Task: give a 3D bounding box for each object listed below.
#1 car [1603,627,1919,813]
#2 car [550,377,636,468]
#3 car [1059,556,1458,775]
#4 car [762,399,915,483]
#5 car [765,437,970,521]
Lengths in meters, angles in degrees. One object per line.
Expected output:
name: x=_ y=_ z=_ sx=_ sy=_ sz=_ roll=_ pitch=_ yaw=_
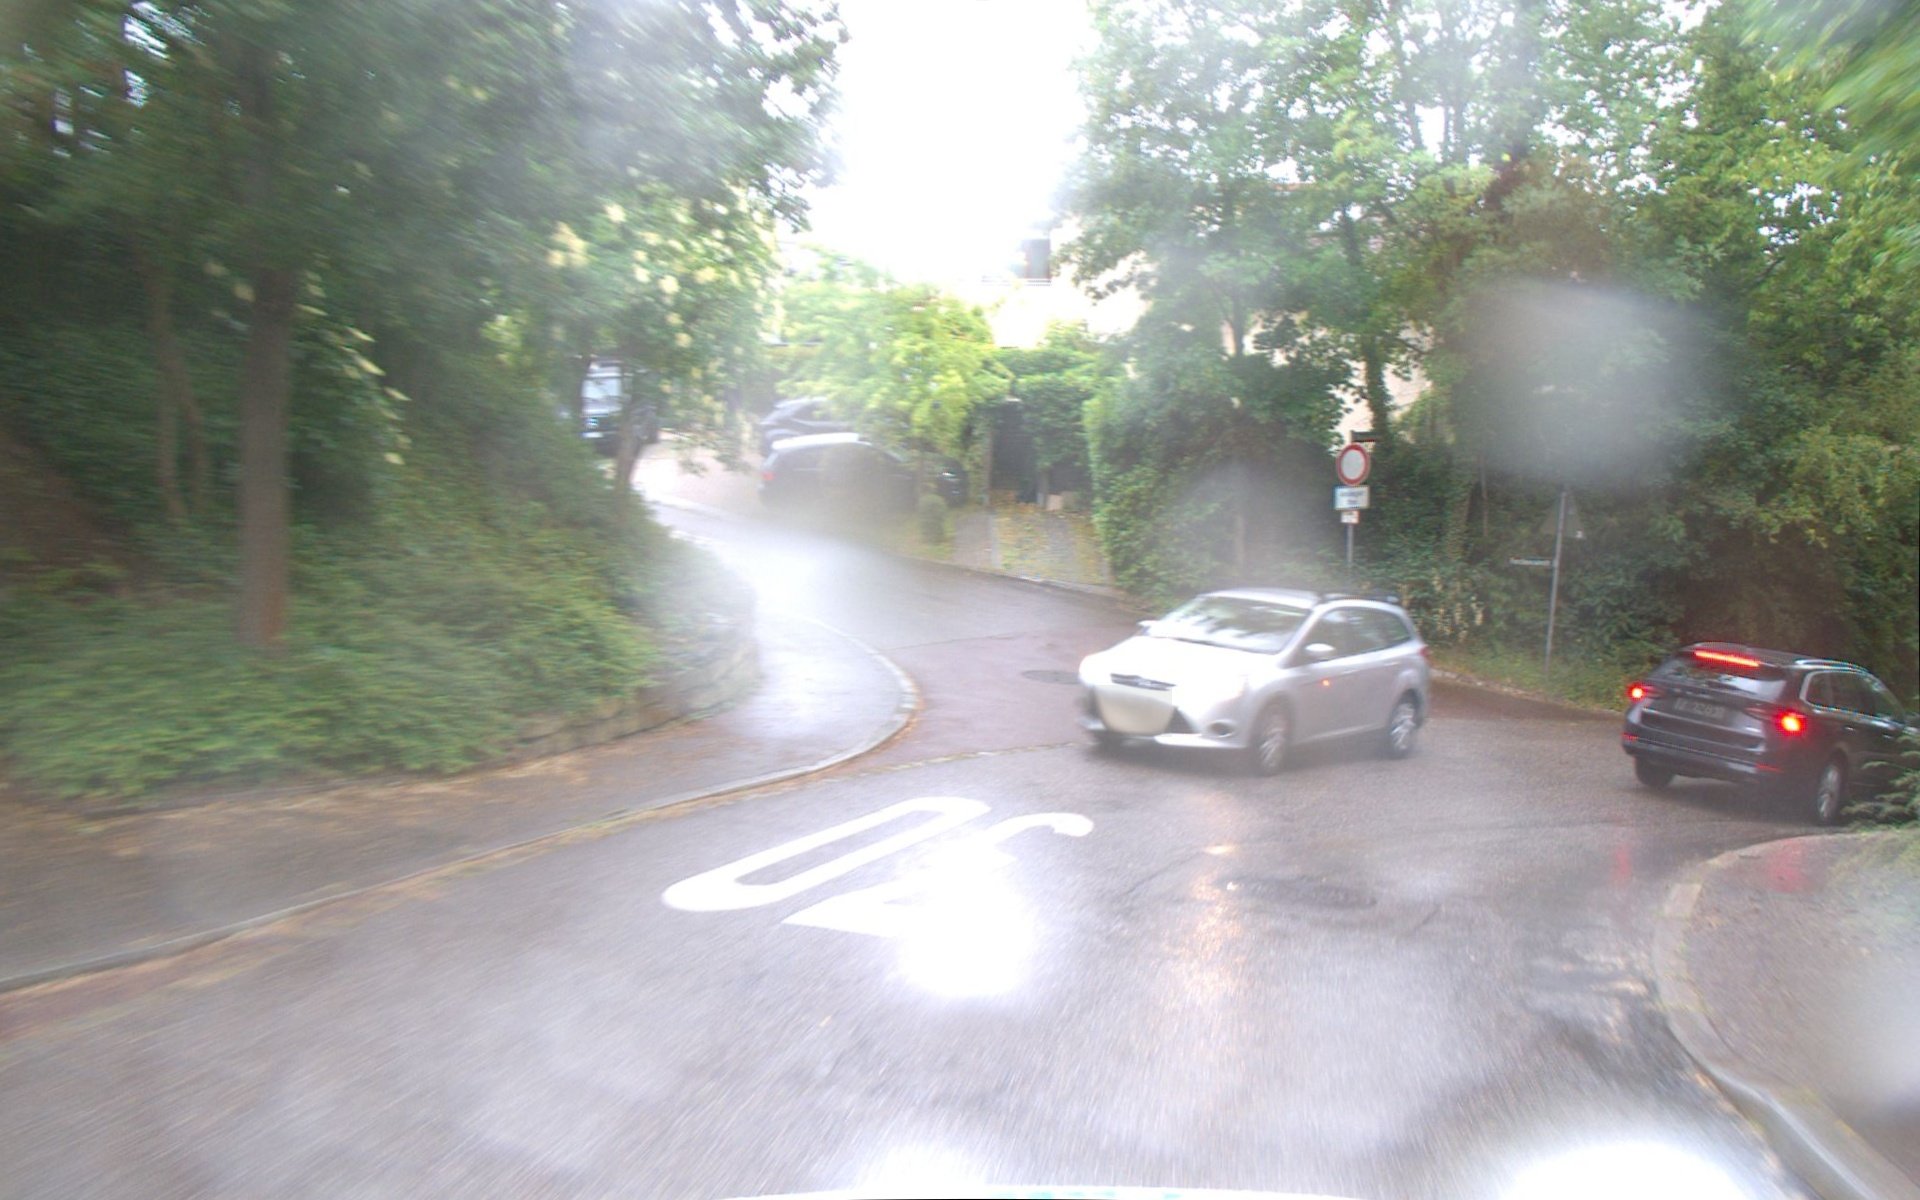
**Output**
car: x=8.050 y=1.061 z=16.156 sx=3.966 sy=1.475 sz=1.679 roll=1 pitch=3 yaw=-43
car: x=-9.115 y=-4.484 z=41.235 sx=1.855 sy=1.640 sz=3.999 roll=-5 pitch=14 yaw=-10
car: x=2.820 y=0.568 z=14.937 sx=1.647 sy=1.563 sz=4.099 roll=7 pitch=3 yaw=39
car: x=-2.700 y=-3.606 z=37.468 sx=3.327 sy=1.598 sz=1.598 roll=1 pitch=15 yaw=0
car: x=-1.804 y=-2.401 z=32.663 sx=3.907 sy=1.439 sz=1.701 roll=0 pitch=11 yaw=-3
